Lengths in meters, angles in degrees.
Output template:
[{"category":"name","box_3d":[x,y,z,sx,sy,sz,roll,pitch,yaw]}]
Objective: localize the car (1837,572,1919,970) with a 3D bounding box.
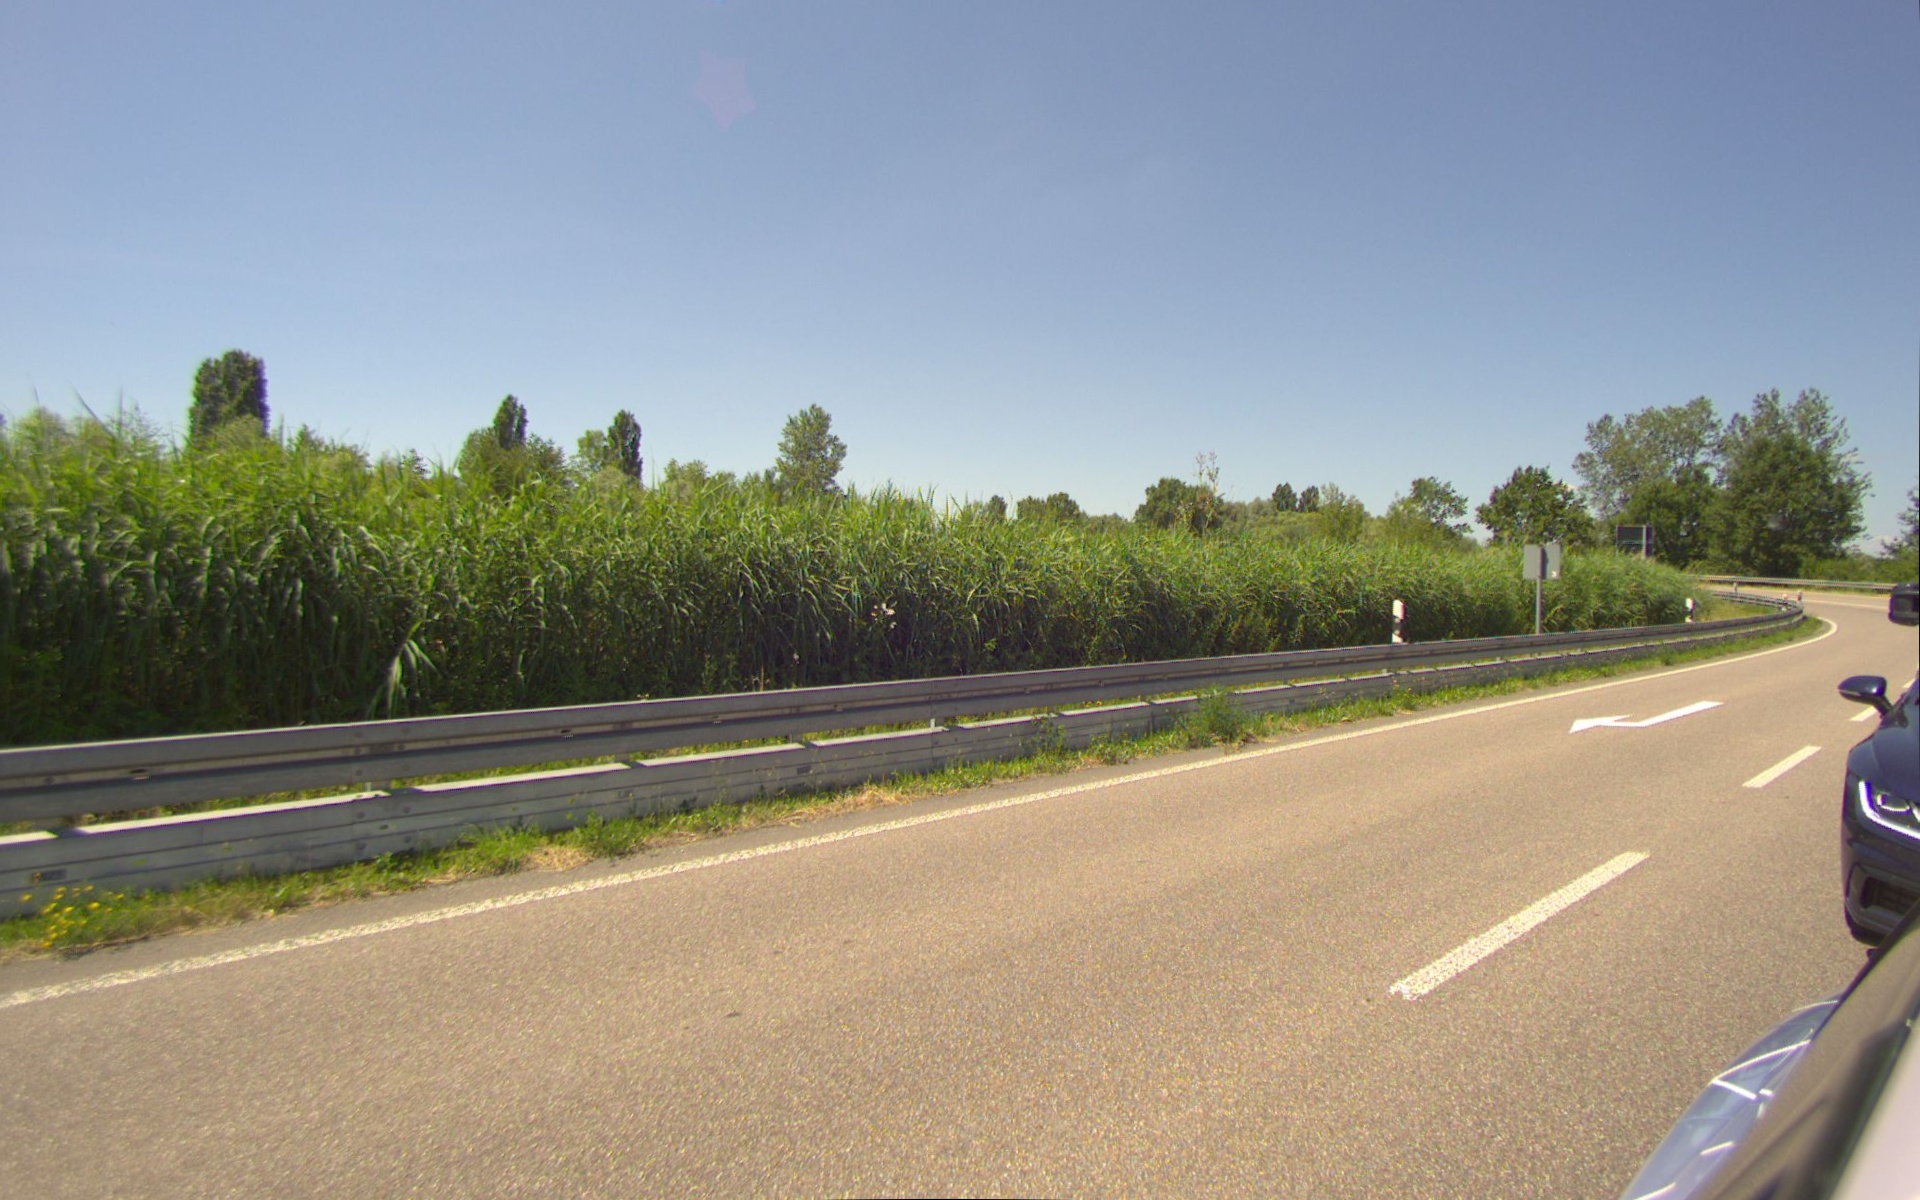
[{"category":"car","box_3d":[5.643,0.623,4.674,4.338,1.481,1.818,-1,1,-41]}]
